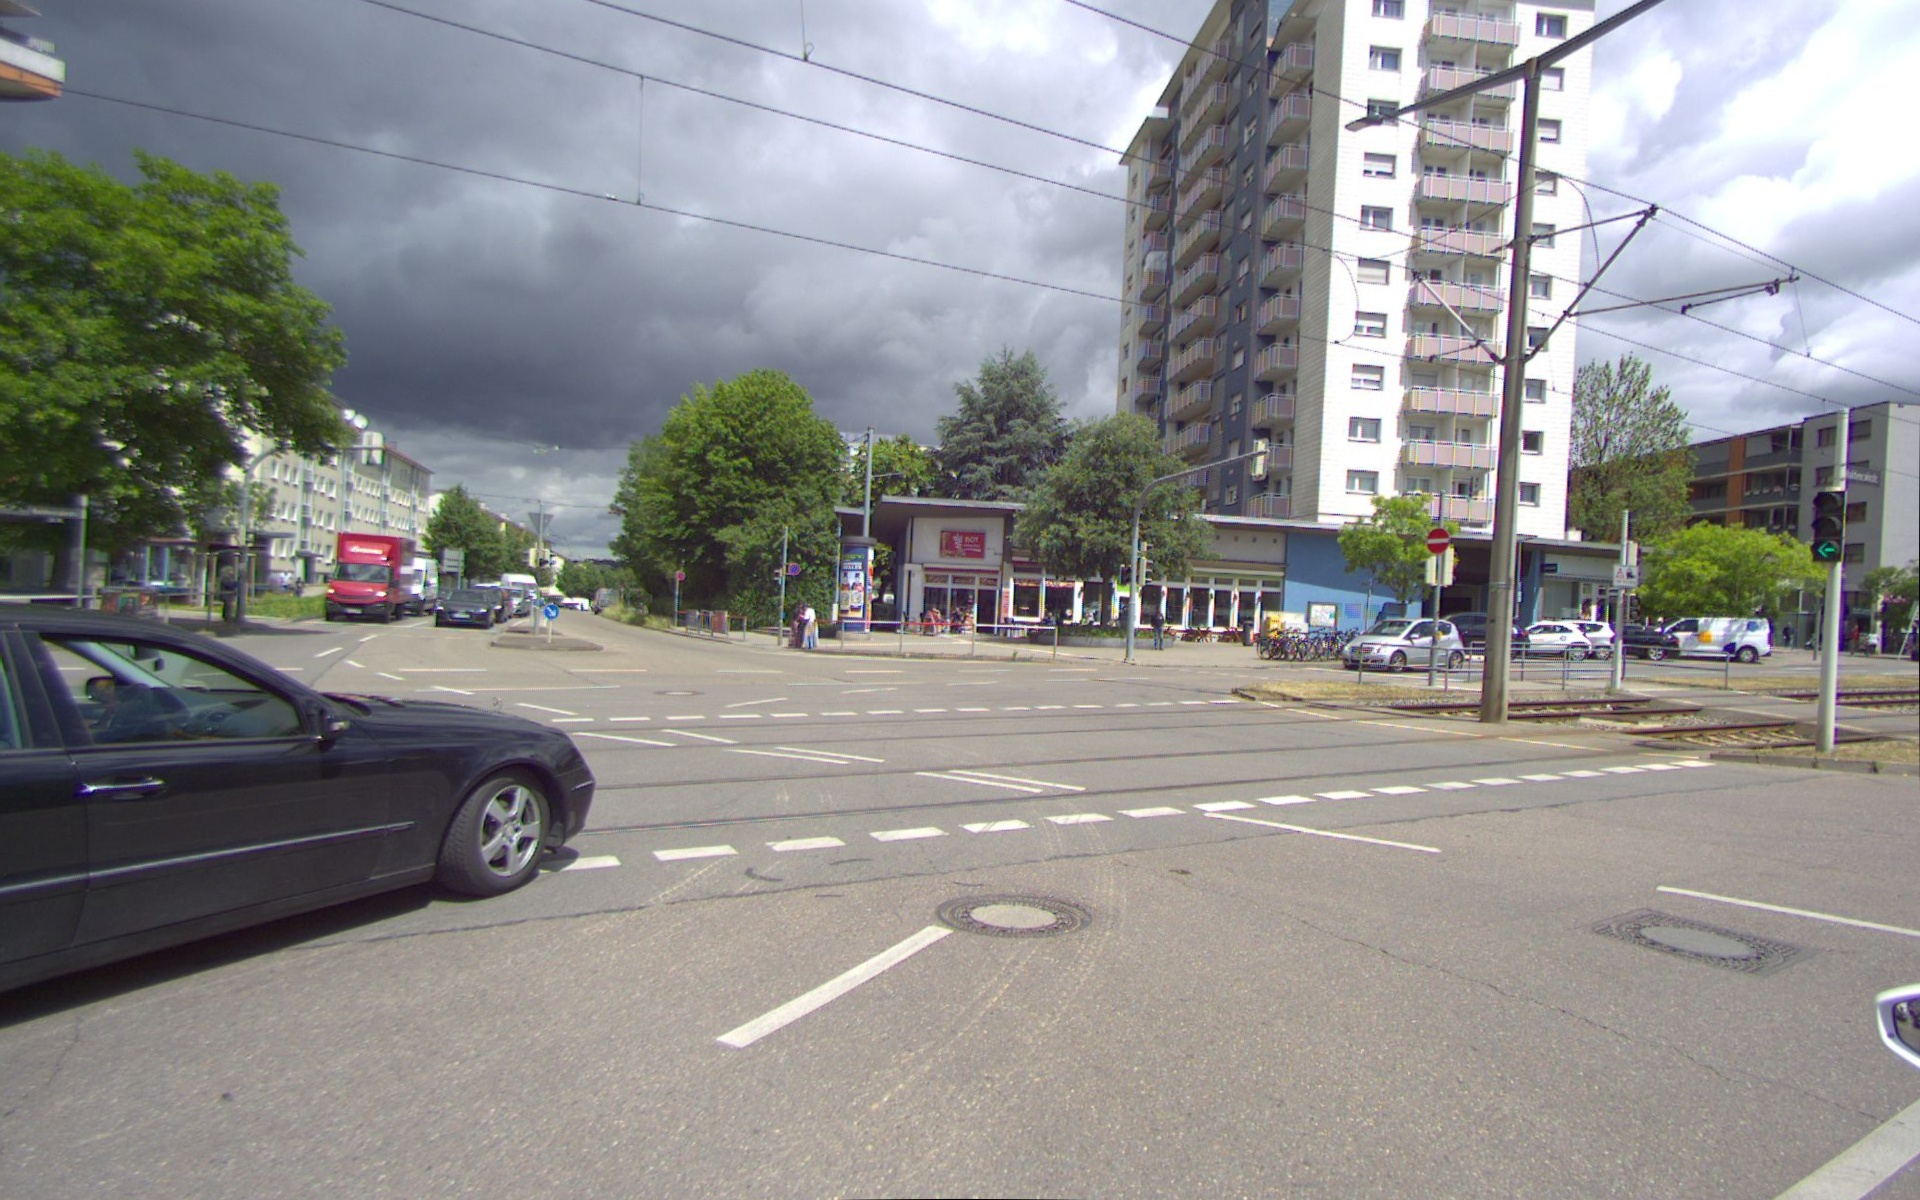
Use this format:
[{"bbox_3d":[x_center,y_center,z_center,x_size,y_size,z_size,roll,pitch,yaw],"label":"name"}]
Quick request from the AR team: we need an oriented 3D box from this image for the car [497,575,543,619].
[{"bbox_3d":[-29.497,-0.166,67.492,2.399,2.825,4.875,1,0,-19],"label":"car"}]

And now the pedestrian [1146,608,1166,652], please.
[{"bbox_3d":[7.462,1.133,38.243,0.594,1.665,0.414,1,0,-31],"label":"pedestrian"}]

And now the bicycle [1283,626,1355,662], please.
[{"bbox_3d":[11.932,1.452,33.446,0.696,1.080,2.417,1,0,-28],"label":"bicycle"}]

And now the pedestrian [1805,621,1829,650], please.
[{"bbox_3d":[50.072,2.068,58.671,0.602,1.672,0.841,1,1,-13],"label":"pedestrian"}]

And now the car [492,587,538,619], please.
[{"bbox_3d":[-24.392,0.170,55.182,1.969,1.623,3.982,1,0,-19],"label":"car"}]

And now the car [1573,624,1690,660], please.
[{"bbox_3d":[29.536,1.832,44.331,3.921,1.402,1.906,1,0,19],"label":"car"}]

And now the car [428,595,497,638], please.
[{"bbox_3d":[-18.603,0.591,37.730,1.971,1.514,3.980,1,0,-21],"label":"car"}]

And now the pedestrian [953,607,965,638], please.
[{"bbox_3d":[-0.036,1.106,48.912,0.515,1.492,0.572,1,0,4],"label":"pedestrian"}]

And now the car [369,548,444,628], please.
[{"bbox_3d":[-25.188,-0.493,45.893,1.970,3.343,6.276,1,0,-20],"label":"car"}]

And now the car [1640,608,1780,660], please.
[{"bbox_3d":[33.829,1.486,45.462,4.668,2.185,1.906,1,0,19],"label":"car"}]

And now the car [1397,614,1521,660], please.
[{"bbox_3d":[19.148,1.397,38.714,3.919,1.612,1.934,1,0,14],"label":"car"}]

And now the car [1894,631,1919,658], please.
[{"bbox_3d":[54.086,2.502,55.859,4.325,1.447,1.728,2,1,-28],"label":"car"}]

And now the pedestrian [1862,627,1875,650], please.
[{"bbox_3d":[59.447,2.488,65.736,0.490,1.479,0.559,1,0,33],"label":"pedestrian"}]

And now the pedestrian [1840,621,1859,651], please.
[{"bbox_3d":[53.304,2.150,60.211,0.833,1.816,0.608,1,0,-30],"label":"pedestrian"}]

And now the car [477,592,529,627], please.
[{"bbox_3d":[-22.882,0.462,50.429,1.969,1.623,3.982,1,0,-19],"label":"car"}]

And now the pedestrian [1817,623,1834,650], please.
[{"bbox_3d":[52.906,2.223,61.409,0.654,1.594,0.687,1,0,33],"label":"pedestrian"}]

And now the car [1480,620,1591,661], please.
[{"bbox_3d":[23.524,1.642,41.186,3.693,1.516,1.747,1,0,21],"label":"car"}]

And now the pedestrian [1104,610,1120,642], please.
[{"bbox_3d":[7.227,1.234,47.726,0.565,1.492,0.522,1,0,-26],"label":"pedestrian"}]

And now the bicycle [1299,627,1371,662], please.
[{"bbox_3d":[12.568,1.466,33.786,0.696,1.080,2.417,1,0,-28],"label":"bicycle"}]

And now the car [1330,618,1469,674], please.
[{"bbox_3d":[13.060,1.339,29.856,3.704,1.553,1.812,1,0,-26],"label":"car"}]

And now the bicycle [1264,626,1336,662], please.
[{"bbox_3d":[11.123,1.434,32.993,0.696,1.080,2.417,1,0,-28],"label":"bicycle"}]

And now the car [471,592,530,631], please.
[{"bbox_3d":[-20.347,0.490,44.627,1.969,1.623,3.982,1,0,-19],"label":"car"}]

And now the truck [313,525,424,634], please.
[{"bbox_3d":[-22.289,-0.701,38.186,2.509,3.723,7.063,1,0,-22],"label":"truck"}]

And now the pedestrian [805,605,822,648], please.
[{"bbox_3d":[-5.076,0.920,34.863,0.516,1.492,0.519,1,0,-2],"label":"pedestrian"}]

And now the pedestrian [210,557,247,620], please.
[{"bbox_3d":[-21.834,-0.342,29.979,0.874,1.835,0.641,1,0,35],"label":"pedestrian"}]

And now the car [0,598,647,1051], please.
[{"bbox_3d":[-3.691,0.705,3.940,1.942,1.417,4.667,1,0,29],"label":"car"}]

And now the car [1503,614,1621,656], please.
[{"bbox_3d":[25.655,1.456,42.970,3.919,1.654,1.907,1,0,15],"label":"car"}]

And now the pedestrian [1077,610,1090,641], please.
[{"bbox_3d":[5.990,1.219,48.700,0.515,1.492,0.572,1,0,0],"label":"pedestrian"}]

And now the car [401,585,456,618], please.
[{"bbox_3d":[-28.314,0.087,53.588,1.969,1.623,3.982,1,0,-19],"label":"car"}]

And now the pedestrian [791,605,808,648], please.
[{"bbox_3d":[-5.643,0.930,35.307,0.516,1.492,0.572,1,0,-2],"label":"pedestrian"}]

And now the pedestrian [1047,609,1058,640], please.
[{"bbox_3d":[4.471,1.191,48.562,0.515,1.492,0.572,1,0,4],"label":"pedestrian"}]

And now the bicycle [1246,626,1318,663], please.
[{"bbox_3d":[10.424,1.419,32.627,0.696,1.080,2.417,1,0,-28],"label":"bicycle"}]

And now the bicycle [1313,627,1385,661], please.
[{"bbox_3d":[13.221,1.480,34.184,0.696,1.080,2.417,1,0,-28],"label":"bicycle"}]

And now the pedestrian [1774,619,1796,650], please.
[{"bbox_3d":[49.421,2.076,60.178,0.828,1.816,0.873,1,0,27],"label":"pedestrian"}]

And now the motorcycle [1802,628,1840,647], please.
[{"bbox_3d":[59.076,2.576,68.935,0.733,1.194,1.882,1,0,-31],"label":"motorcycle"}]

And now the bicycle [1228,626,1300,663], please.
[{"bbox_3d":[9.741,1.404,32.265,0.696,1.080,2.417,1,0,-28],"label":"bicycle"}]

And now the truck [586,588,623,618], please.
[{"bbox_3d":[-31.644,0.258,89.517,2.905,2.583,7.002,1,0,-19],"label":"truck"}]

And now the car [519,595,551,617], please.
[{"bbox_3d":[-32.604,0.481,77.071,1.969,1.623,3.982,1,0,-19],"label":"car"}]

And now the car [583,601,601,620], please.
[{"bbox_3d":[-57.385,1.574,156.454,2.351,2.930,6.142,1,0,-22],"label":"car"}]

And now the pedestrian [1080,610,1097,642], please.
[{"bbox_3d":[6.048,1.209,47.270,0.565,1.492,0.522,1,0,-26],"label":"pedestrian"}]
